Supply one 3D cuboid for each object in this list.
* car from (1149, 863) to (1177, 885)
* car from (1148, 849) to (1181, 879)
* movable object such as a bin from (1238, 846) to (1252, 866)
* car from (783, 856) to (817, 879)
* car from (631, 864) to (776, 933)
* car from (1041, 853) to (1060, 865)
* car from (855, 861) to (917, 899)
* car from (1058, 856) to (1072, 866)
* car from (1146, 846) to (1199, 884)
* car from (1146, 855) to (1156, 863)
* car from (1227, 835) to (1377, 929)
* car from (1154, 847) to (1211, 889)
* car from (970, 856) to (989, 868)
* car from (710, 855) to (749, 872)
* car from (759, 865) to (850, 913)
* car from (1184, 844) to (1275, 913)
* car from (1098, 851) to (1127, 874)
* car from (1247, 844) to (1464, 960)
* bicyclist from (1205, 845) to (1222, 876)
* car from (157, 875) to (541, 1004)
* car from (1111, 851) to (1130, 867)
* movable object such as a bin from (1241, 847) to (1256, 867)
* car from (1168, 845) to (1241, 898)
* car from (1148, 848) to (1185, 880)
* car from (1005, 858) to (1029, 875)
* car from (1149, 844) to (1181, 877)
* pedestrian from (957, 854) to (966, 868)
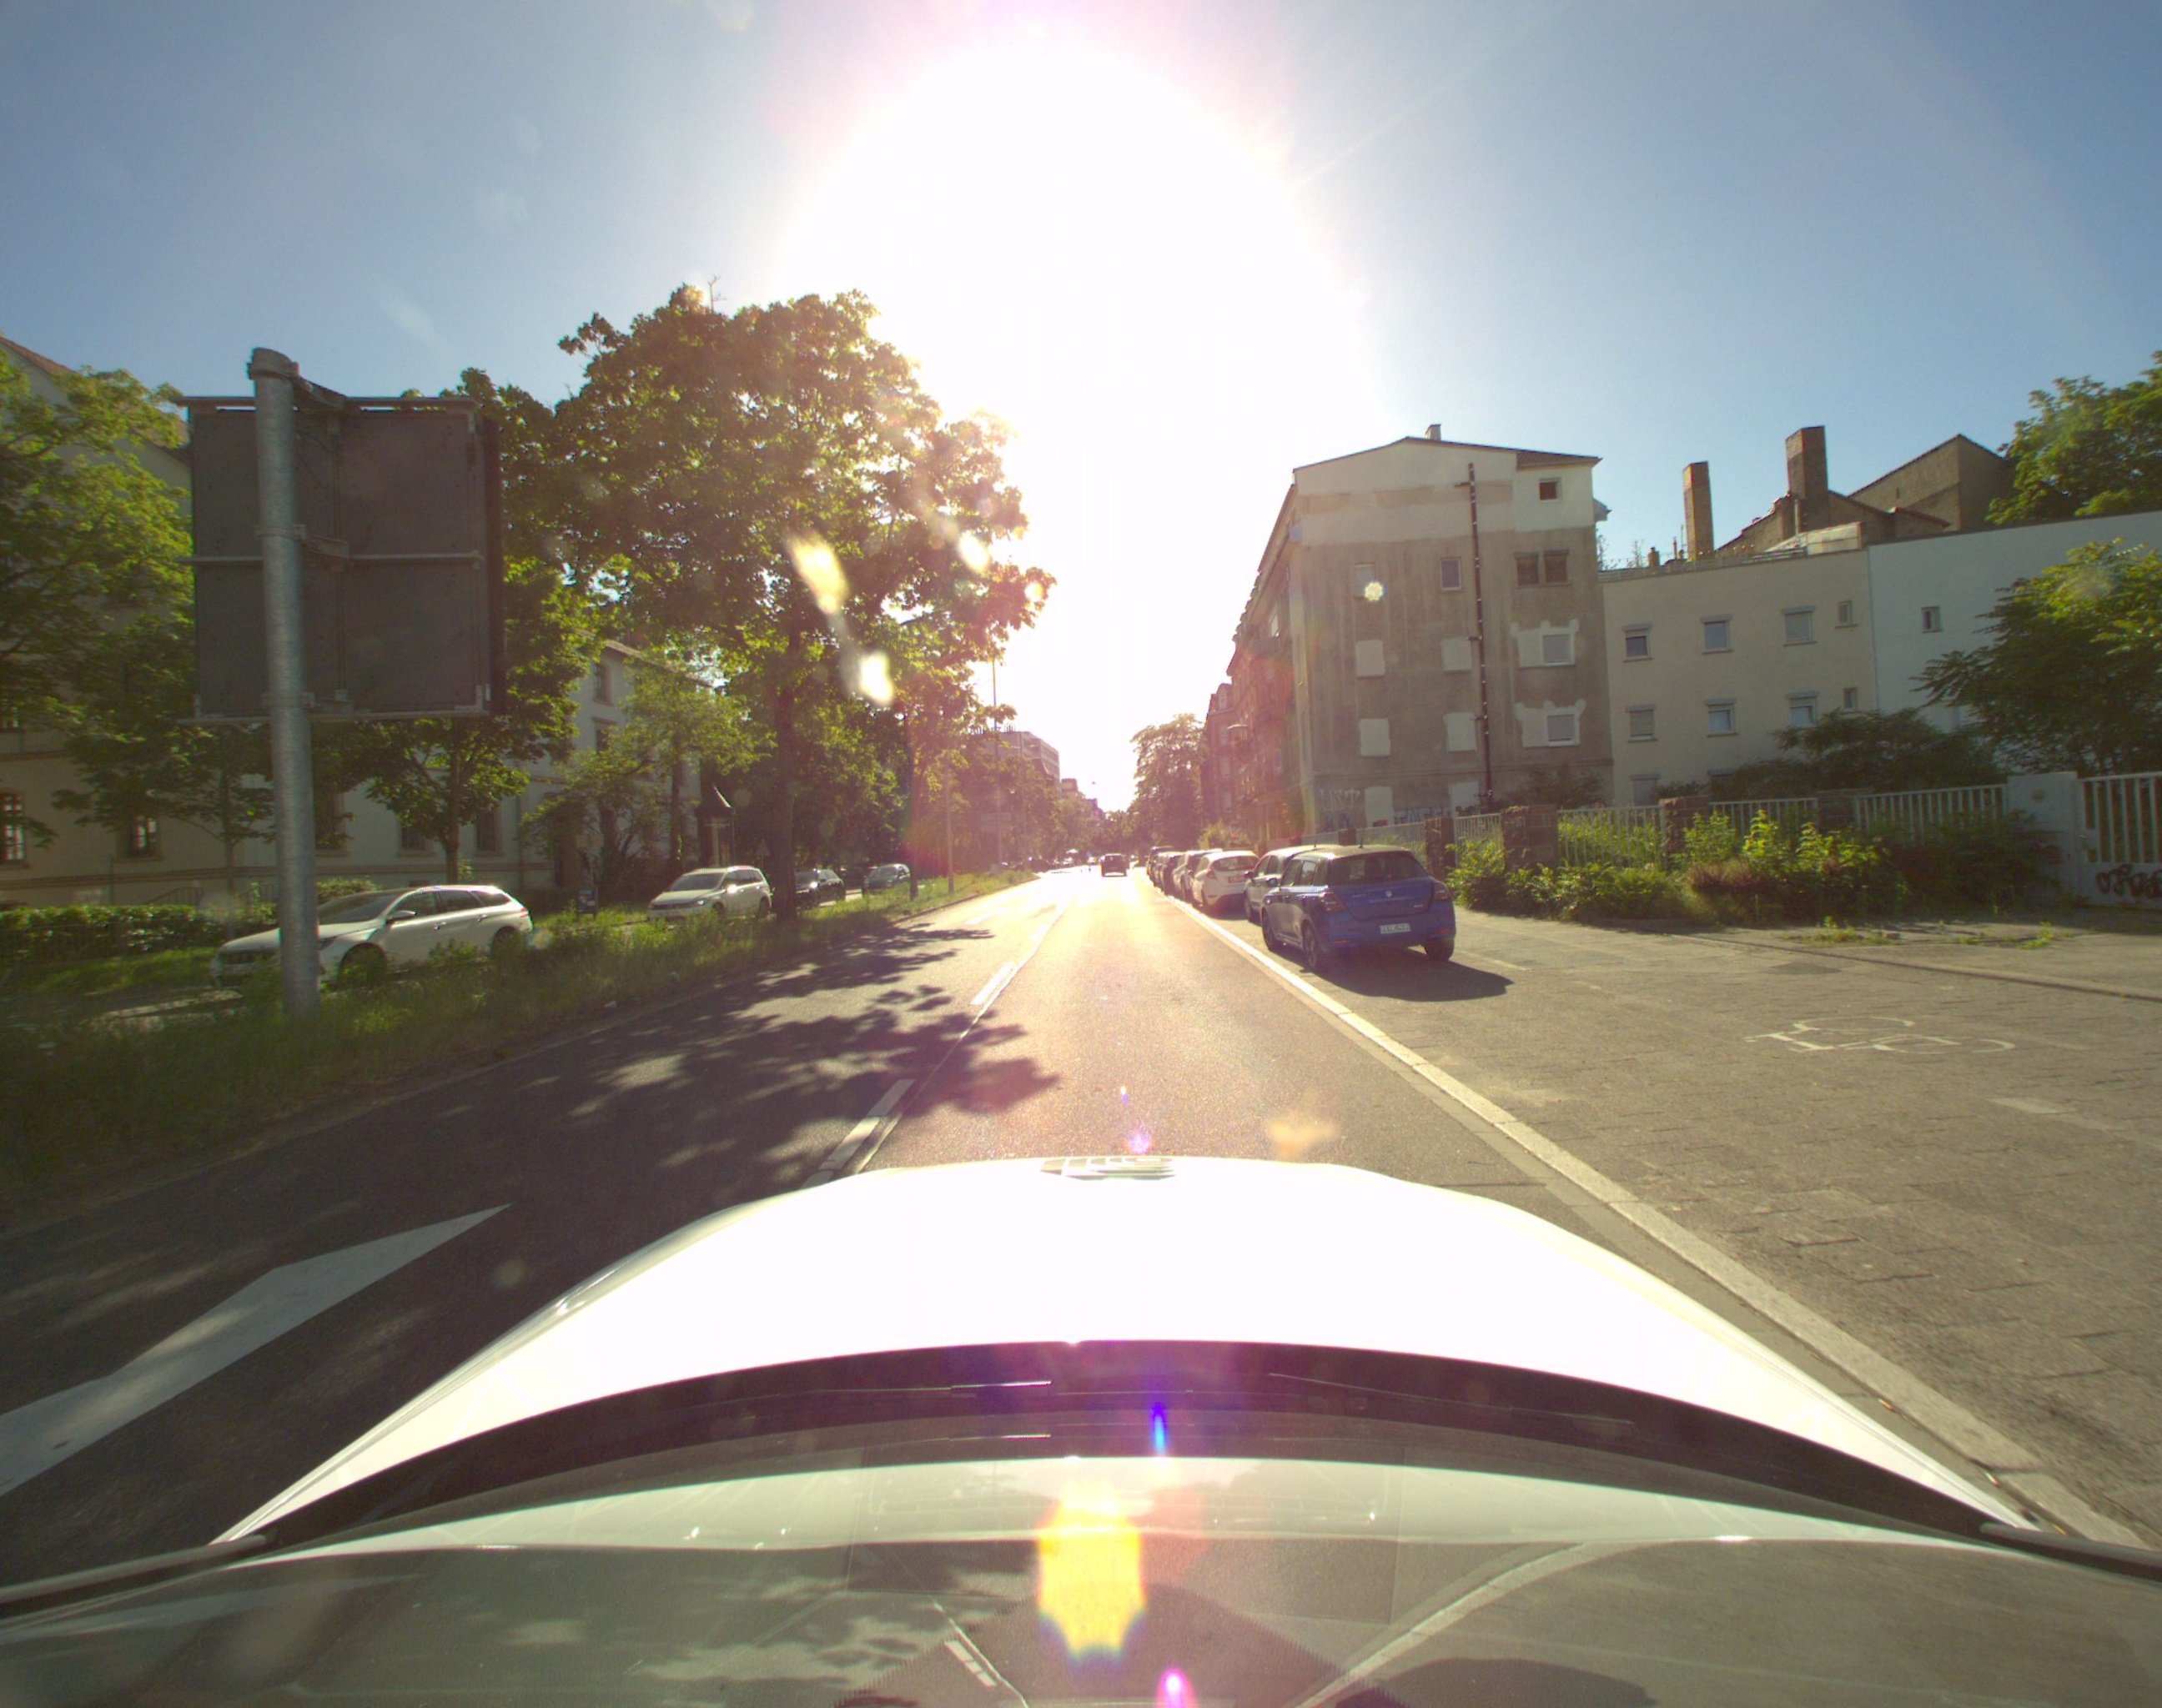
[{"bbox_3d":[5.706,1.357,57.081,1.702,1.425,4.209,0,0,3],"label":"car"},{"bbox_3d":[4.593,0.498,44.986,1.660,1.468,4.280,-3,0,5],"label":"car"},{"bbox_3d":[9.805,0.131,48.703,0.719,1.157,0.609,-2,-3,4],"label":"movable object such as a bin"},{"bbox_3d":[-31.379,1.544,91.009,1.838,2.324,4.988,-1,-4,3],"label":"car"},{"bbox_3d":[-10.695,1.195,23.508,1.894,1.626,4.538,-4,0,1],"label":"car"},{"bbox_3d":[-4.324,0.684,115.372,1.748,1.519,3.870,-3,0,10],"label":"car"},{"bbox_3d":[-8.769,1.134,36.974,1.632,1.519,4.259,-3,0,1],"label":"car"},{"bbox_3d":[-2.477,1.087,125.631,1.514,1.432,3.346,-3,0,10],"label":"car"},{"bbox_3d":[4.120,0.460,37.348,1.928,1.519,4.485,-3,0,1],"label":"car"},{"bbox_3d":[15.201,1.129,175.501,1.910,1.640,4.008,-3,0,7],"label":"car"},{"bbox_3d":[4.165,0.480,16.003,1.663,1.459,3.983,-6,0,-1],"label":"car"},{"bbox_3d":[3.757,0.470,30.562,1.662,1.393,3.776,-3,0,1],"label":"car"},{"bbox_3d":[-14.550,1.154,116.756,1.980,1.662,3.976,-3,0,-18],"label":"car"},{"bbox_3d":[-33.822,0.928,78.507,1.838,1.491,4.002,-2,-3,3],"label":"car"},{"bbox_3d":[-10.091,1.248,30.083,1.789,1.519,4.087,-4,-1,1],"label":"car"},{"bbox_3d":[3.731,0.562,20.967,1.603,1.446,3.659,-6,0,1],"label":"car"},{"bbox_3d":[2.167,0.565,57.082,1.889,1.519,3.999,-1,0,-1],"label":"car"},{"bbox_3d":[3.595,0.554,11.428,1.662,1.182,3.901,-6,0,0],"label":"car"},{"bbox_3d":[6.962,0.328,42.791,0.738,1.580,1.101,-2,1,4],"label":"bicyclist"},{"bbox_3d":[-11.436,1.215,13.324,1.831,1.519,4.670,-3,0,3],"label":"car"},{"bbox_3d":[4.037,0.532,83.557,1.785,1.520,3.851,-2,1,2],"label":"car"},{"bbox_3d":[9.816,0.175,47.752,0.755,1.157,0.609,-2,-3,4],"label":"movable object such as a bin"},{"bbox_3d":[3.917,0.523,26.285,1.663,1.519,3.659,-3,0,-1],"label":"car"},{"bbox_3d":[4.280,0.470,41.265,1.615,1.470,3.301,3,1,2],"label":"car"},{"bbox_3d":[-6.063,1.156,77.423,1.789,1.519,4.424,-2,0,1],"label":"car"},{"bbox_3d":[5.172,0.355,50.490,1.811,1.844,4.370,-3,0,5],"label":"car"},{"bbox_3d":[-13.483,0.791,91.961,0.662,1.626,0.720,-3,0,36],"label":"pedestrian"}]
